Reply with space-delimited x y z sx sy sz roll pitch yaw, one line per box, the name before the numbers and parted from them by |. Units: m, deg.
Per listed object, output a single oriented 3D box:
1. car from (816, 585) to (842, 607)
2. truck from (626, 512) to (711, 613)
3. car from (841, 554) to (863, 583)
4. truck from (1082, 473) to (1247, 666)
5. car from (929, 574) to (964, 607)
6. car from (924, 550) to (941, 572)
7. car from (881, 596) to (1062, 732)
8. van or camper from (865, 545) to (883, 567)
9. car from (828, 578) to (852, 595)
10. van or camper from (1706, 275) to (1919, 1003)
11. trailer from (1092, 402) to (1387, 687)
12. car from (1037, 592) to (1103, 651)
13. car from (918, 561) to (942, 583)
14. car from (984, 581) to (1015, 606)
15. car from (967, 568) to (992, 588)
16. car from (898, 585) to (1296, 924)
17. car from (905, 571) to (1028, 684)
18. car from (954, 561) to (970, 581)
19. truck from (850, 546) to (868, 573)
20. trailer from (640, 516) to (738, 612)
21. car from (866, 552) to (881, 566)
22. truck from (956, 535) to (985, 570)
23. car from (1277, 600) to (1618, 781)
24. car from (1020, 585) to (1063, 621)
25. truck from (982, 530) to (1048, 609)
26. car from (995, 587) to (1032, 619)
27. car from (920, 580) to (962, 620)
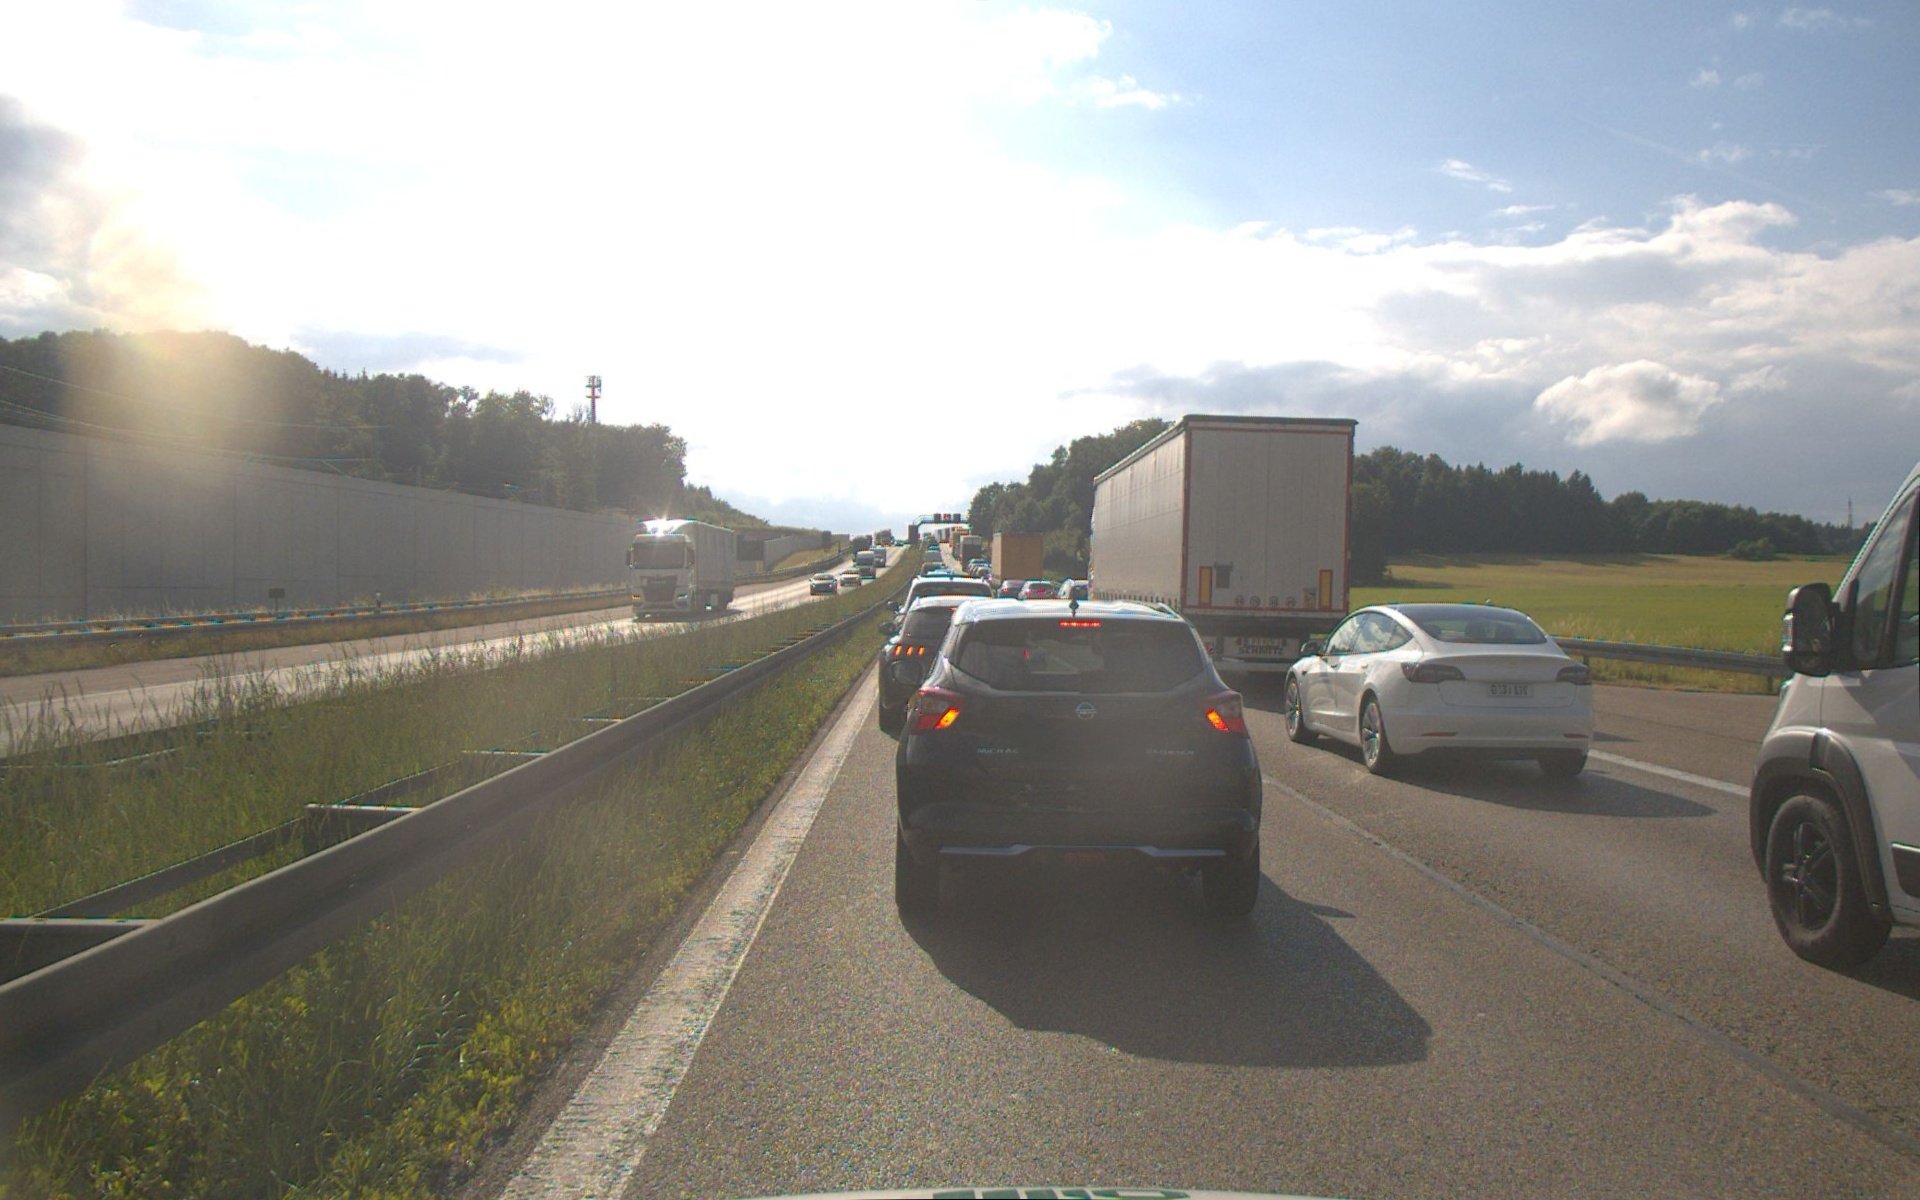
car | -9.237 -0.274 116.569 1.618 1.476 3.955 0 0 -1
truck | -12.618 -1.577 72.076 2.720 4.159 5.530 -2 0 -1
car | -11.204 -3.215 172.311 2.061 2.920 5.634 0 0 -2
truck | 4.569 -0.629 38.016 3.070 4.086 5.162 1 -1 -1
car | -0.744 -0.544 89.949 1.835 1.673 4.232 0 2 -1
car | -2.921 -4.157 176.873 1.835 2.196 5.211 0 3 -1
car | 0.092 0.642 18.872 1.835 1.381 4.231 0 0 -1
van or camper | -11.701 -5.970 225.492 2.207 2.751 7.168 0 0 -2
car | -10.457 -1.142 144.313 1.835 1.476 4.231 0 0 -1
van or camper | 4.701 0.151 4.787 2.170 2.728 6.331 0 0 -1
trailer | 4.589 -0.720 30.653 3.067 4.081 13.364 1 -1 0
car | 3.152 0.595 48.080 1.663 1.639 4.436 0 0 0
car | -2.413 -2.244 132.902 1.835 1.673 4.231 0 2 -2
car | 2.710 -0.461 115.169 1.836 1.673 4.230 0 1 -3
car | 1.739 -1.991 146.618 1.836 1.673 4.229 0 2 -4
car | 0.573 0.668 9.335 1.737 1.476 4.231 0 0 -1
car | 0.068 0.405 26.805 1.835 1.673 4.231 0 0 -1
car | 0.190 -3.590 203.943 1.835 2.196 5.211 0 3 -1
truck | -15.256 -6.136 249.935 2.530 3.991 5.721 -1 0 -1
trailer | -12.808 -1.583 79.387 2.734 4.148 13.516 -1 0 -2
car | -11.538 -5.437 219.698 1.872 1.700 4.363 0 5 -2
truck | 1.391 -6.538 229.338 3.395 4.656 12.437 1 1 -2
car | 4.333 0.724 15.461 1.752 1.418 4.435 0 0 -2
car | 3.984 0.103 81.536 1.835 1.673 4.232 0 1 -1
truck | 3.341 -1.787 104.279 3.231 4.657 12.434 1 0 -2
car | 2.930 0.129 90.802 1.835 1.673 4.232 0 1 -1
car | -0.844 -0.022 73.009 1.835 1.673 4.232 0 1 -1
